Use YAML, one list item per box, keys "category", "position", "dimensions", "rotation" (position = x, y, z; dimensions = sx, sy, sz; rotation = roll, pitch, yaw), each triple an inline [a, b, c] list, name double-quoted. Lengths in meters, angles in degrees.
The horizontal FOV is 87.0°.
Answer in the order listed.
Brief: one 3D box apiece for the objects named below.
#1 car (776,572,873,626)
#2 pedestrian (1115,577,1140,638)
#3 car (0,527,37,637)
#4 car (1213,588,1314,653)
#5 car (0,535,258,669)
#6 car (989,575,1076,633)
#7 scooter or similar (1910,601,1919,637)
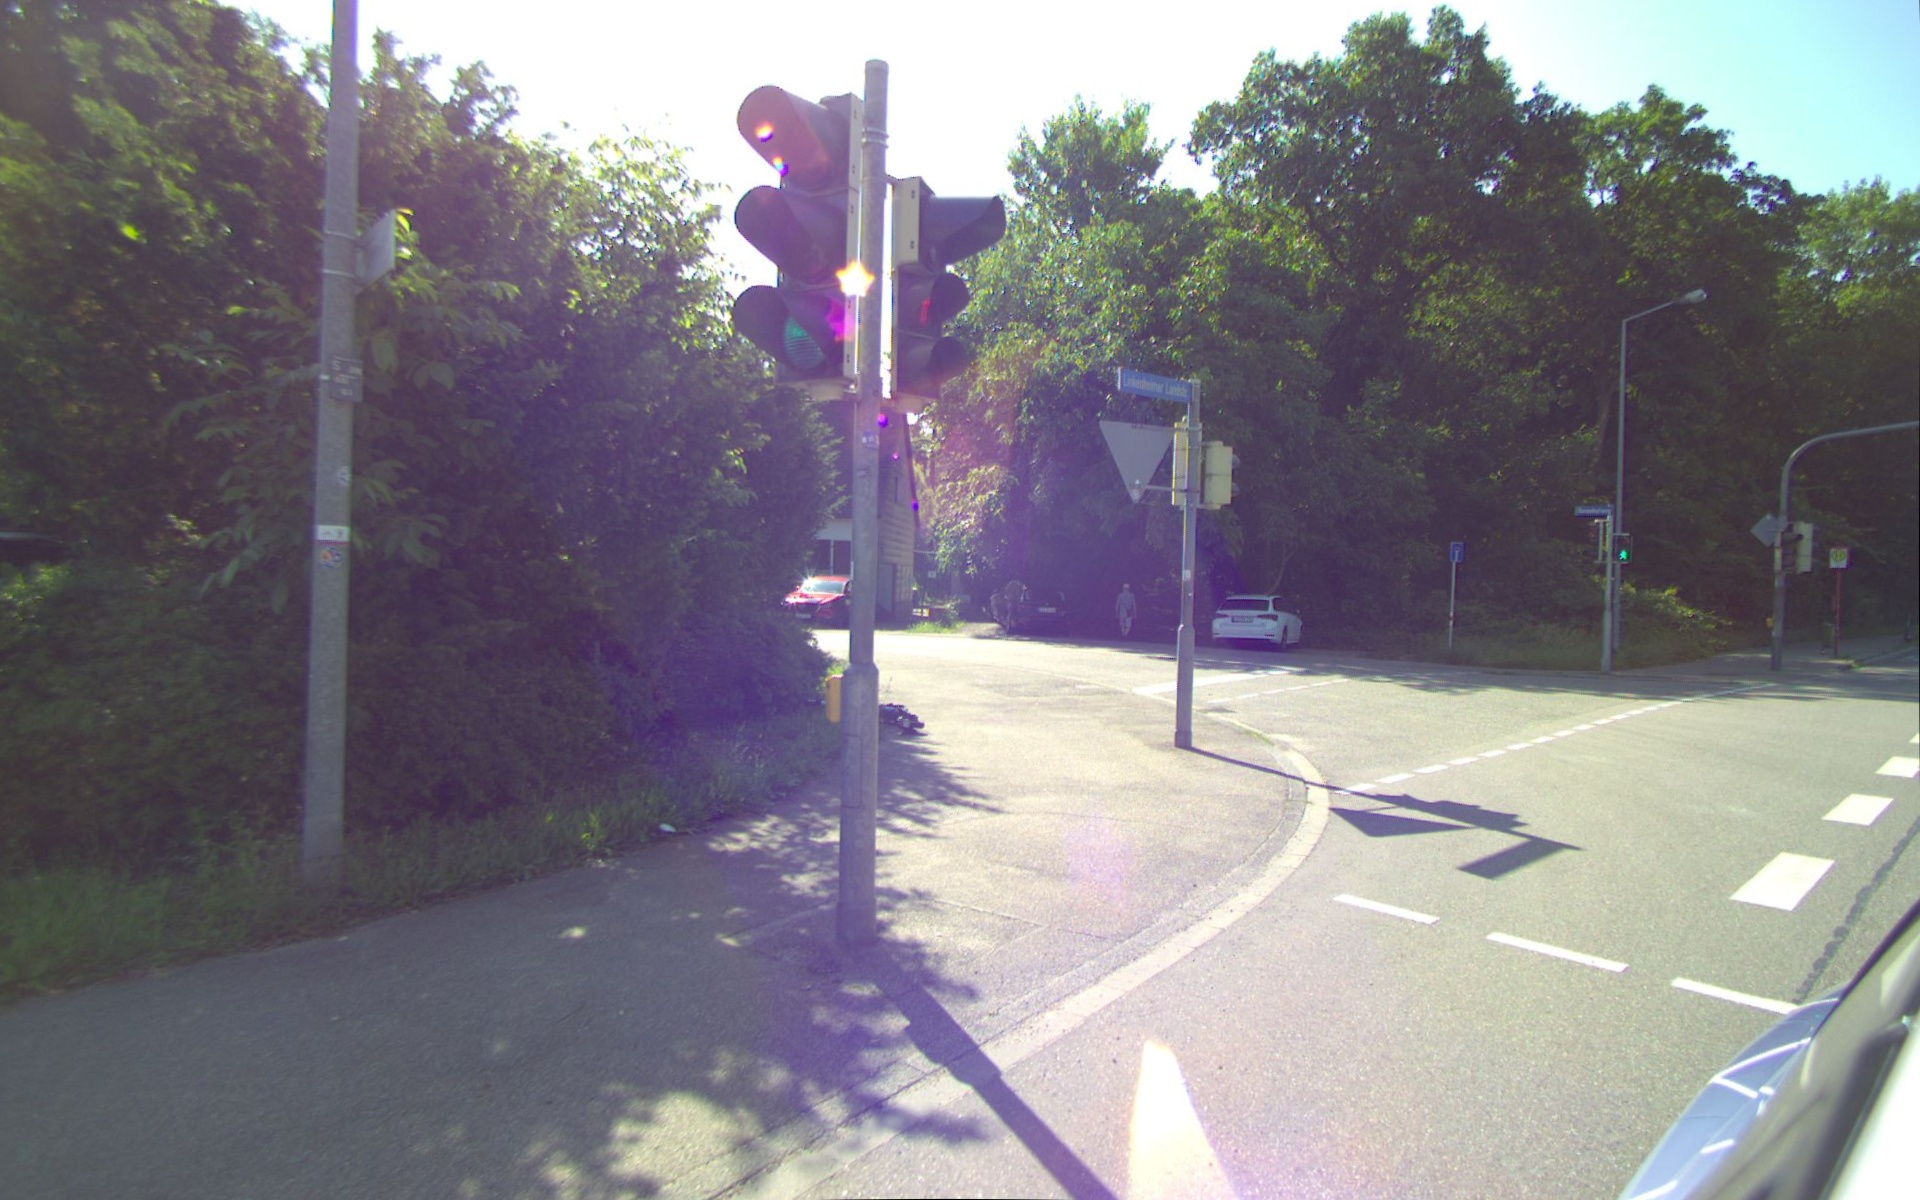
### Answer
- category: "car"
  position: [-4.025, -0.079, 30.731]
  dimensions: [1.604, 1.482, 3.972]
  rotation: [2, 2, 13]
- category: "pedestrian"
  position: [4.630, 0.194, 27.966]
  dimensions: [0.602, 1.649, 0.412]
  rotation: [2, 1, 19]
- category: "car"
  position: [-17.590, -0.258, 16.345]
  dimensions: [3.876, 1.814, 1.680]
  rotation: [-4, 4, -44]
- category: "car"
  position: [8.001, 0.459, 26.398]
  dimensions: [1.614, 1.482, 4.570]
  rotation: [2, 2, 28]
- category: "car"
  position: [-11.896, 0.000, 13.567]
  dimensions: [3.874, 1.649, 1.680]
  rotation: [0, 1, -44]
- category: "car"
  position: [1.999, 0.070, 28.928]
  dimensions: [1.595, 1.482, 3.798]
  rotation: [1, 2, -9]
- category: "scooter or similar"
  position: [36.543, 0.730, 38.473]
  dimensions: [0.398, 1.323, 1.314]
  rotation: [2, 1, 34]
